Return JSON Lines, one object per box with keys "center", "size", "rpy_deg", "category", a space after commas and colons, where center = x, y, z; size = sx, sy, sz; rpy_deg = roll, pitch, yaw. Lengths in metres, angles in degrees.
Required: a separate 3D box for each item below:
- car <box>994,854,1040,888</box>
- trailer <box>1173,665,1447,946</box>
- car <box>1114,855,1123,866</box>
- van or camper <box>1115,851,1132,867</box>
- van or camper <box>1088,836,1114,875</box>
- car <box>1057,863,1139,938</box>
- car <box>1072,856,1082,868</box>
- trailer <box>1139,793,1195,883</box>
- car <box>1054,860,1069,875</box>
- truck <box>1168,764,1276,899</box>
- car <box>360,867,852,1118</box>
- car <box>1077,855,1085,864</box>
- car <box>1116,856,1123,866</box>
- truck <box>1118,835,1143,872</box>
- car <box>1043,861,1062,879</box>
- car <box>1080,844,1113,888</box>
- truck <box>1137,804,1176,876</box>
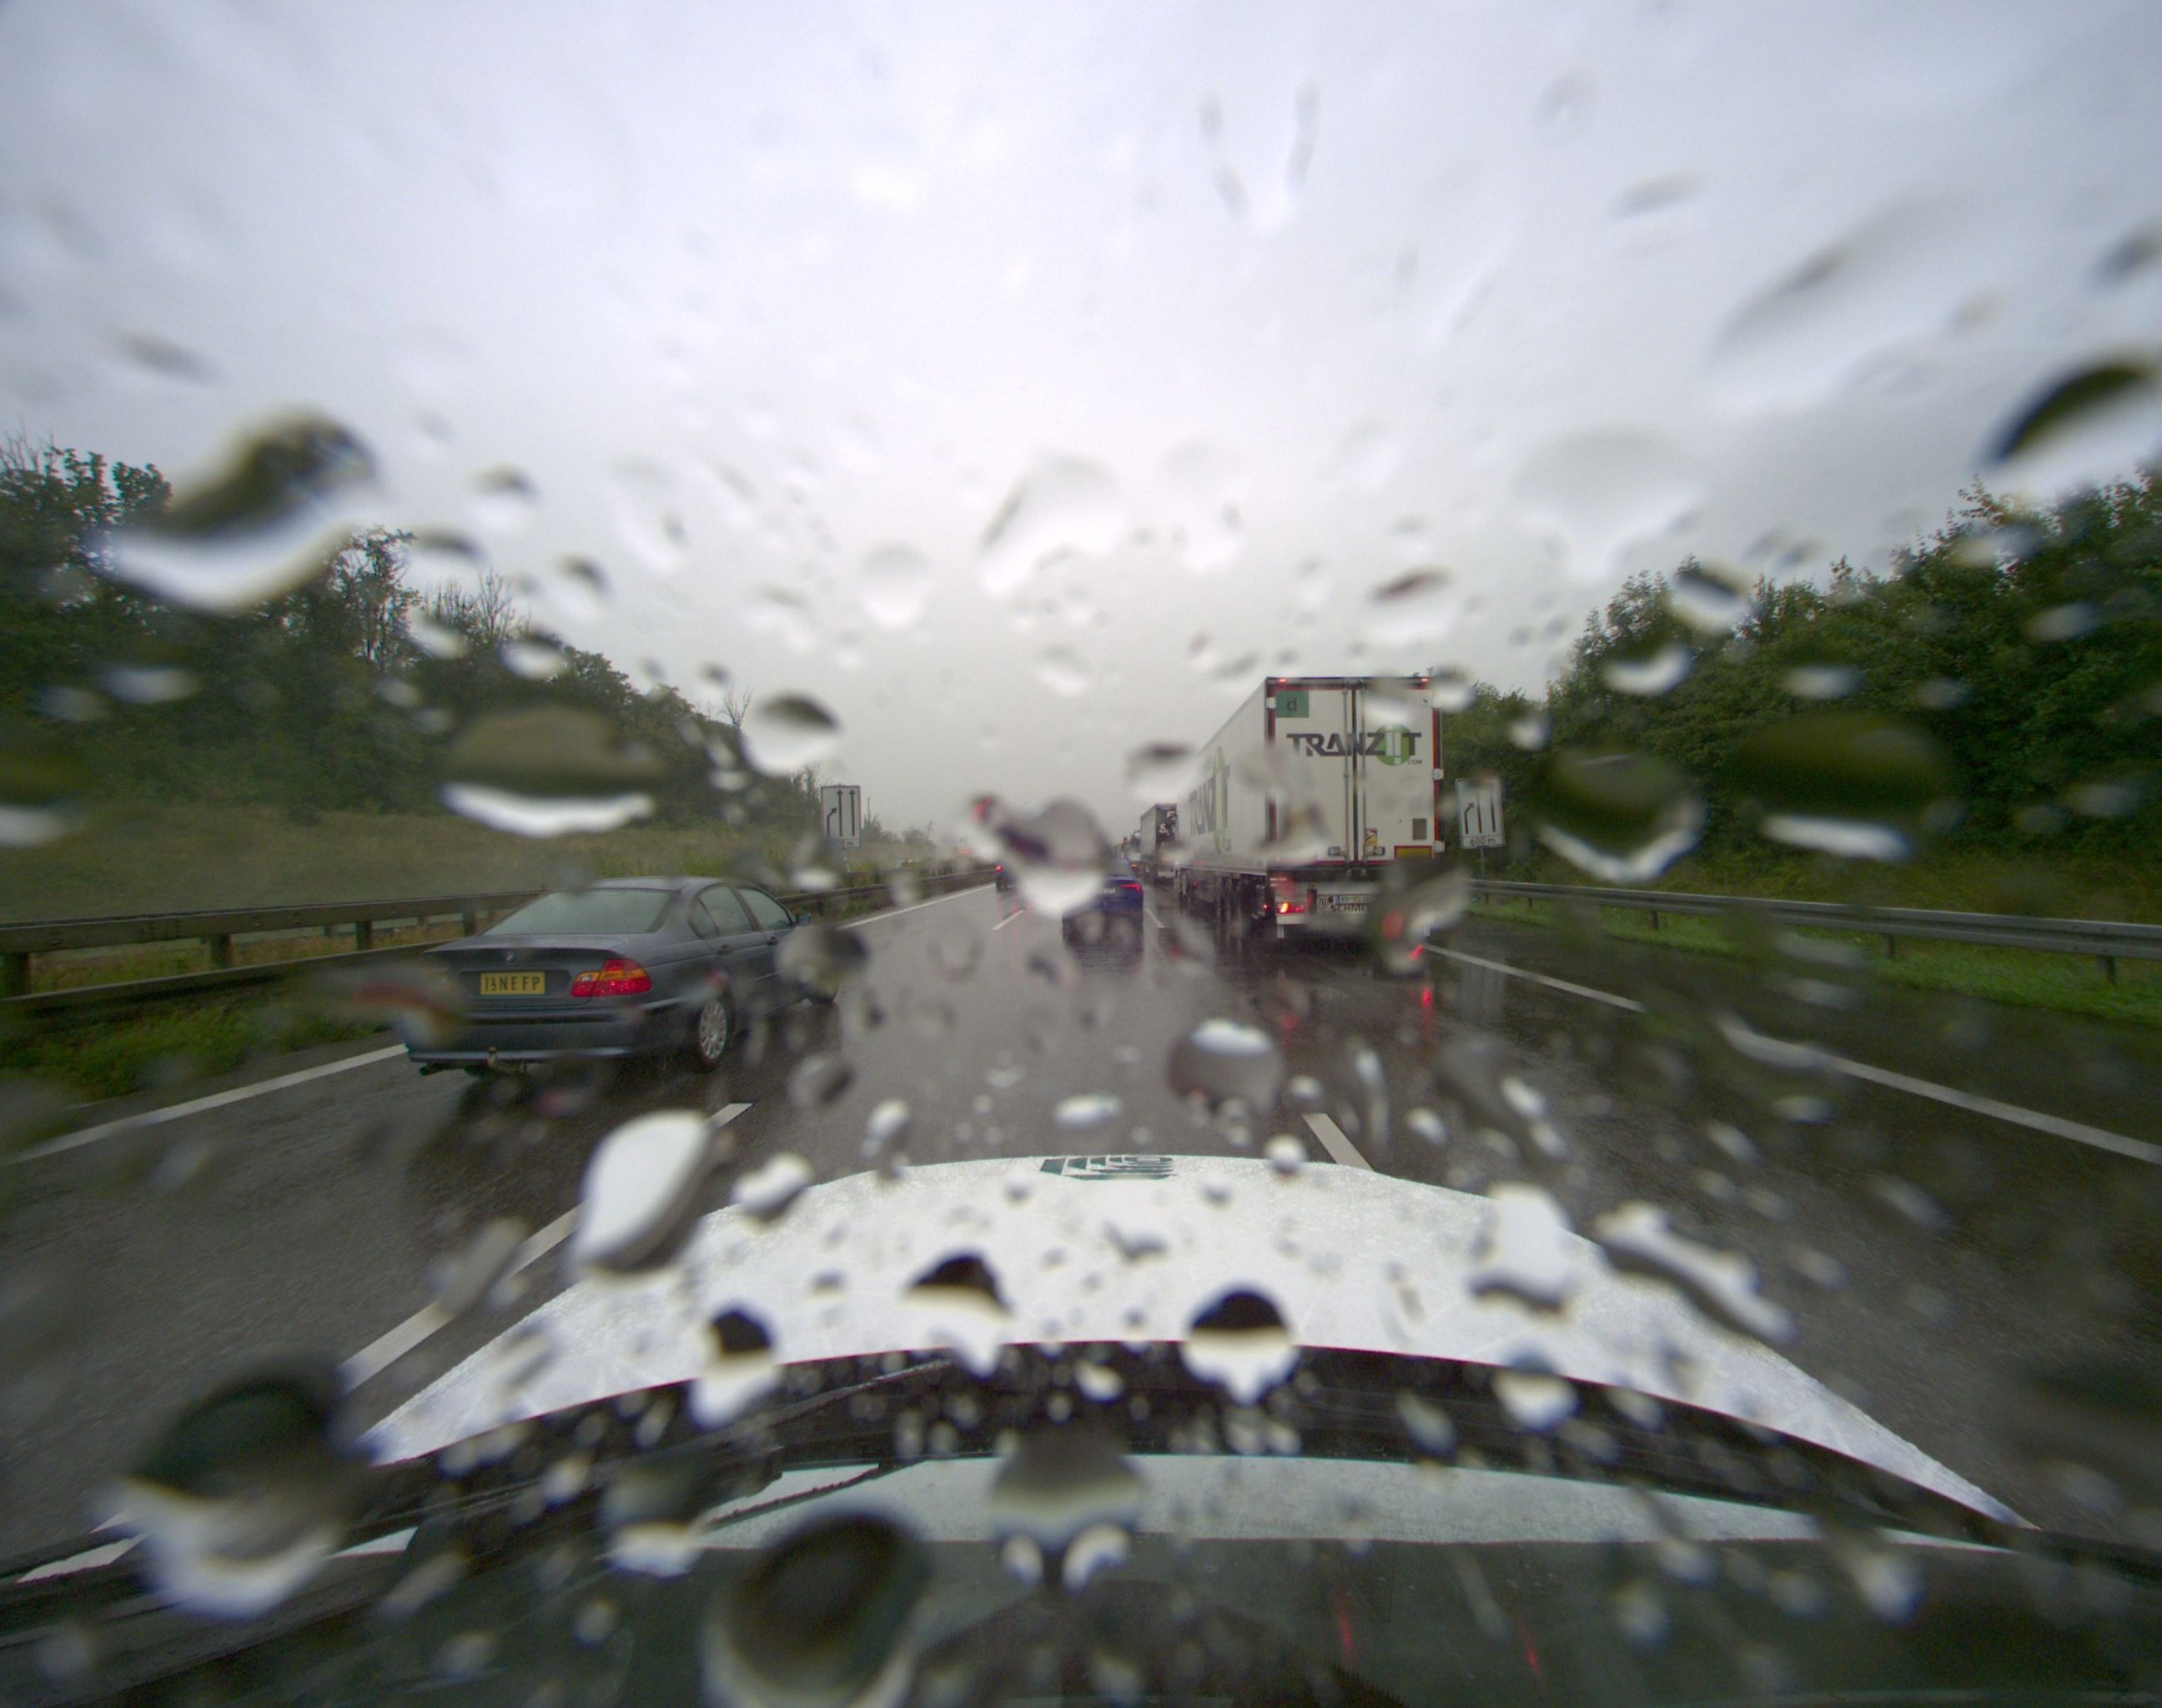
{"center": [-3.041, 0.795, 39.384], "size": [1.715, 1.523, 4.002], "rpy_deg": [-1, 0, 2], "category": "car"}
{"center": [4.132, -0.730, 19.104], "size": [2.621, 4.013, 14.634], "rpy_deg": [-1, 0, 1], "category": "trailer"}
{"center": [6.040, 1.051, 131.583], "size": [1.443, 1.784, 3.410], "rpy_deg": [-1, 0, 1], "category": "car"}
{"center": [4.712, 0.565, 90.583], "size": [1.765, 1.625, 4.485], "rpy_deg": [-1, 1, 1], "category": "van or camper"}
{"center": [1.480, 0.108, 60.942], "size": [1.791, 2.806, 4.769], "rpy_deg": [-1, 0, 1], "category": "van or camper"}
{"center": [0.426, 0.974, 18.499], "size": [1.629, 1.445, 4.002], "rpy_deg": [-1, 0, 2], "category": "car"}
{"center": [-0.623, 1.256, 129.104], "size": [1.443, 1.784, 3.410], "rpy_deg": [-1, 0, 1], "category": "car"}
{"center": [4.438, -0.775, 43.922], "size": [2.039, 4.176, 11.451], "rpy_deg": [-1, 0, 1], "category": "trailer"}
{"center": [-2.063, 1.400, 86.942], "size": [1.434, 1.533, 3.323], "rpy_deg": [-1, 0, 1], "category": "car"}
{"center": [4.306, -0.667, 25.796], "size": [2.621, 3.827, 4.792], "rpy_deg": [-1, 0, 1], "category": "truck"}
{"center": [-3.444, 0.860, 7.001], "size": [1.712, 1.400, 4.229], "rpy_deg": [-1, 0, 0], "category": "car"}
{"center": [-0.041, 1.145, 166.590], "size": [1.443, 1.784, 3.410], "rpy_deg": [-1, 0, 1], "category": "car"}
{"center": [6.762, 1.243, 143.017], "size": [1.244, 1.512, 3.109], "rpy_deg": [-2, 1, 1], "category": "car"}
{"center": [4.826, -0.086, 80.207], "size": [1.987, 3.421, 8.032], "rpy_deg": [-1, 1, 0], "category": "truck"}
{"center": [-2.451, 1.377, 70.415], "size": [1.434, 1.420, 3.323], "rpy_deg": [-1, 0, 1], "category": "car"}
{"center": [0.692, 0.505, 35.176], "size": [1.332, 1.780, 3.323], "rpy_deg": [-1, 0, 1], "category": "car"}
{"center": [4.596, -0.846, 50.037], "size": [2.039, 4.193, 4.001], "rpy_deg": [-1, 0, 1], "category": "truck"}
